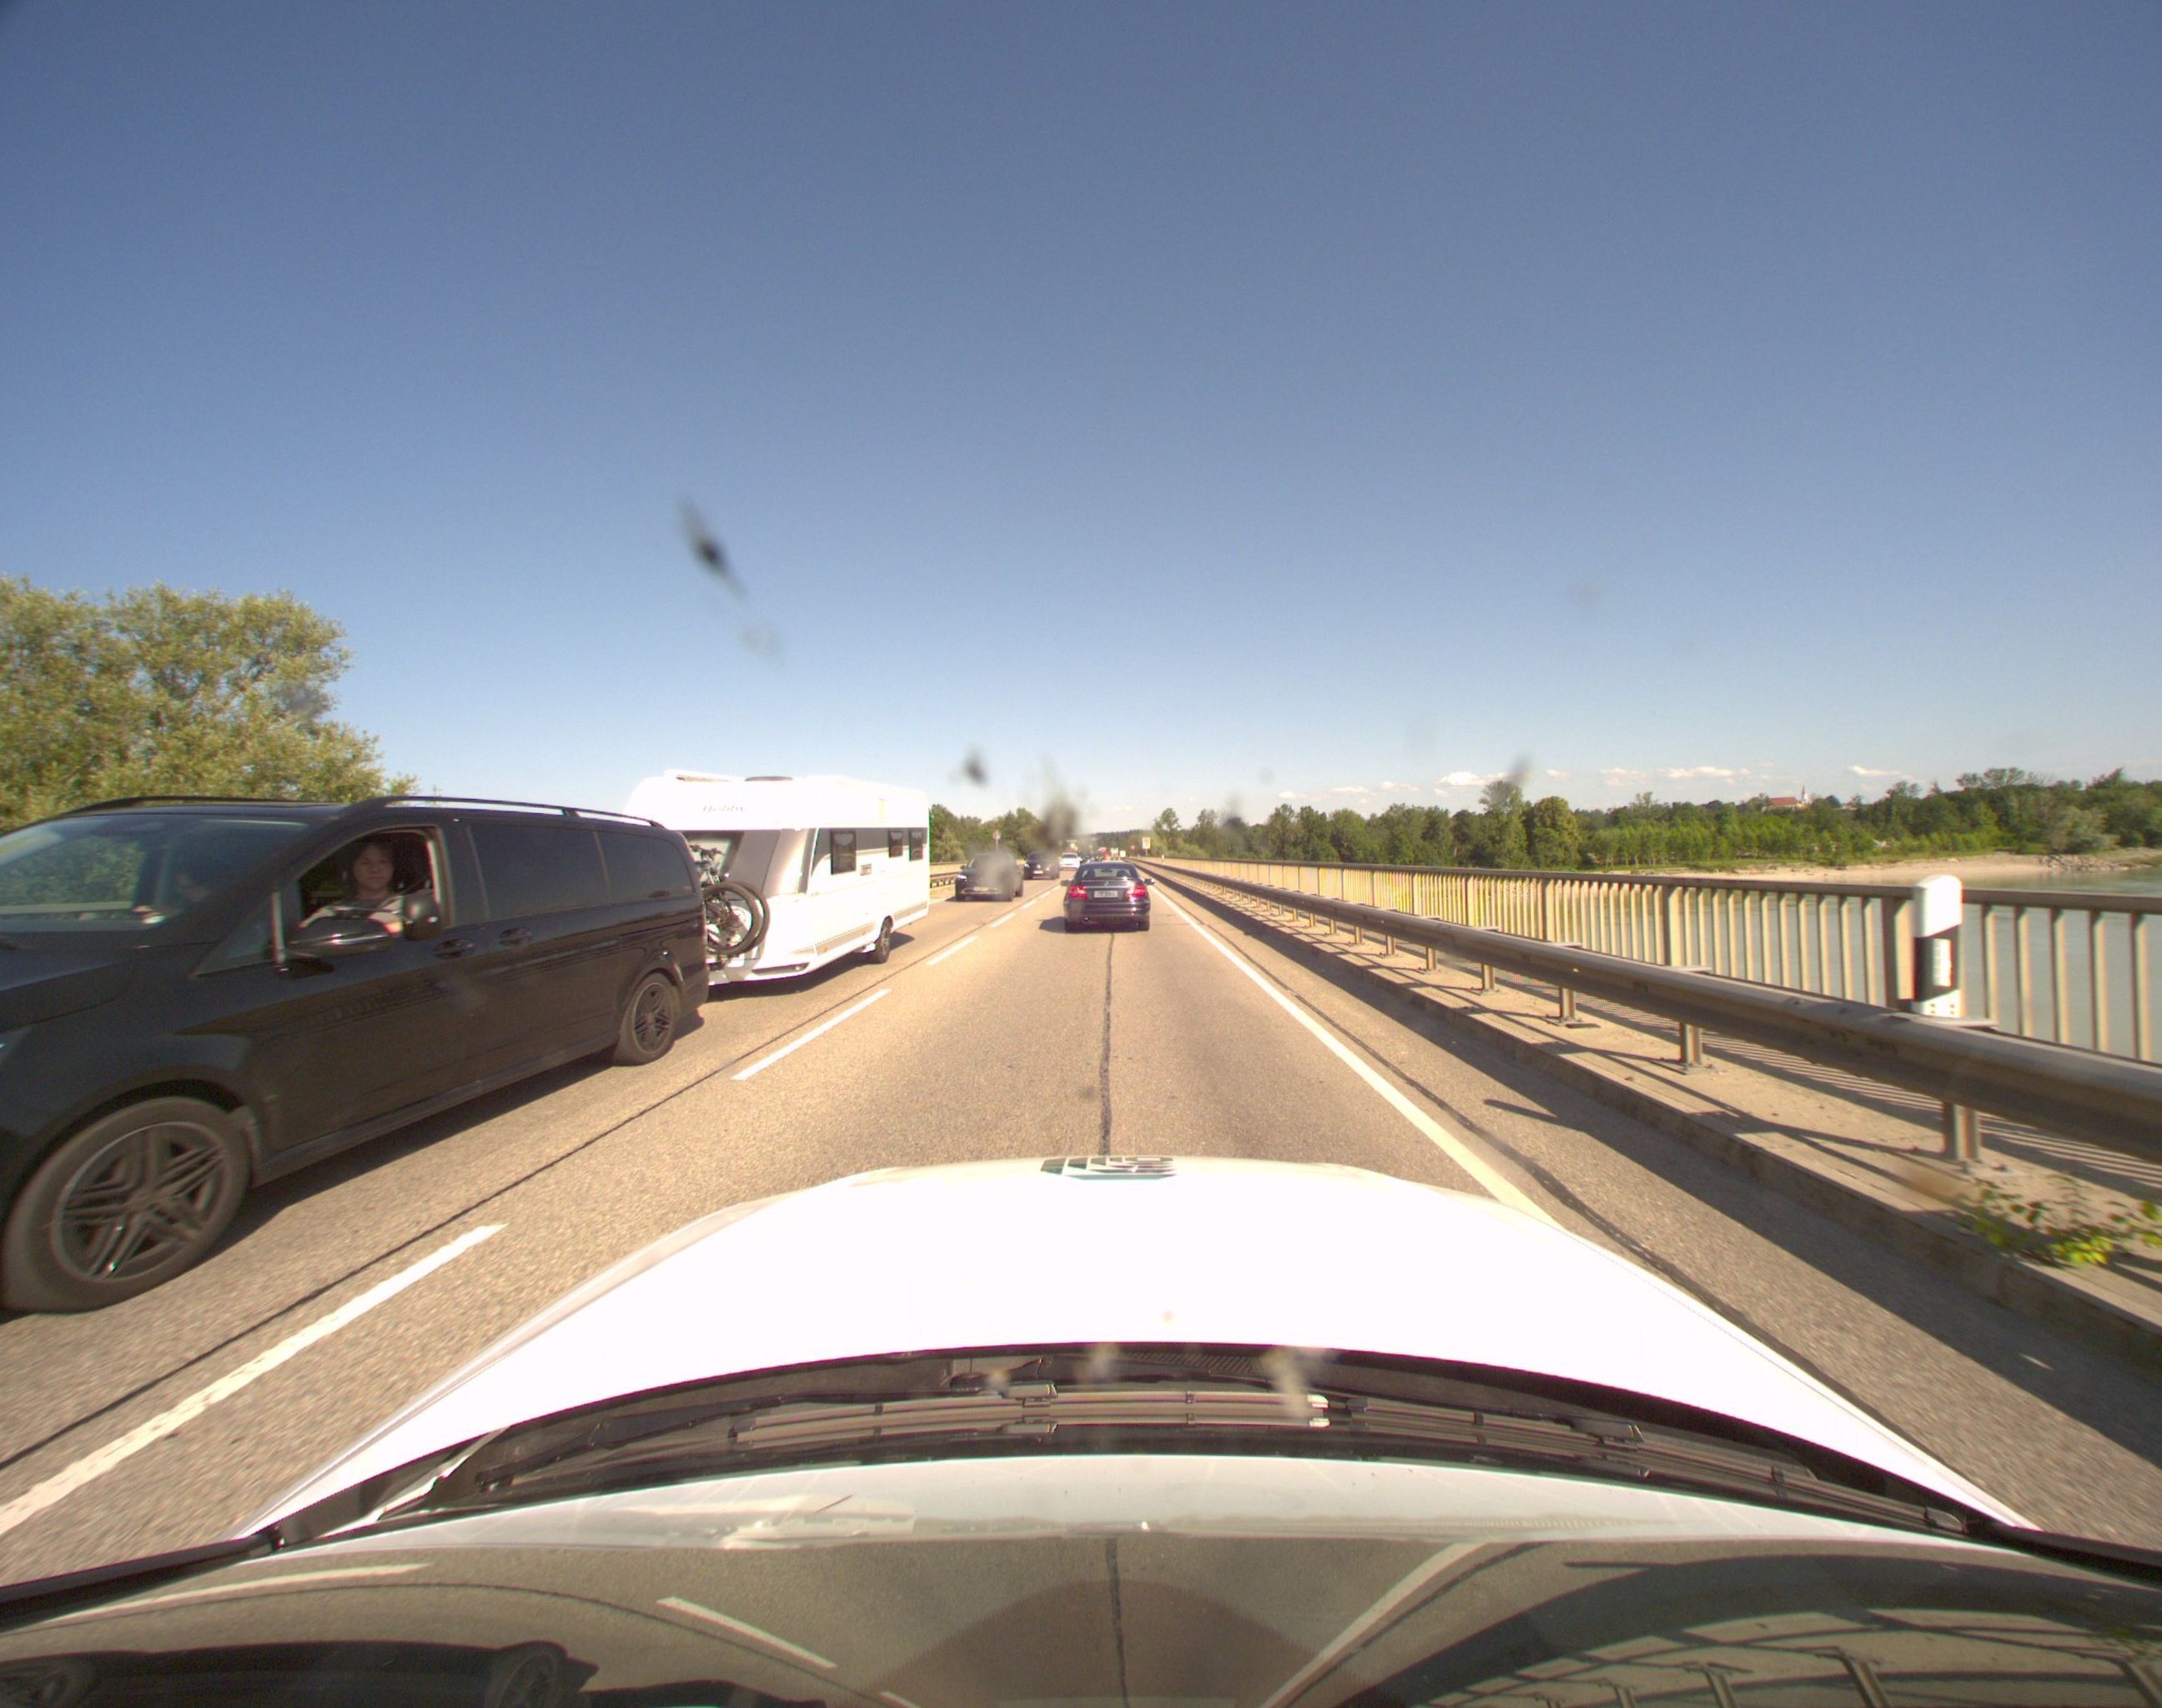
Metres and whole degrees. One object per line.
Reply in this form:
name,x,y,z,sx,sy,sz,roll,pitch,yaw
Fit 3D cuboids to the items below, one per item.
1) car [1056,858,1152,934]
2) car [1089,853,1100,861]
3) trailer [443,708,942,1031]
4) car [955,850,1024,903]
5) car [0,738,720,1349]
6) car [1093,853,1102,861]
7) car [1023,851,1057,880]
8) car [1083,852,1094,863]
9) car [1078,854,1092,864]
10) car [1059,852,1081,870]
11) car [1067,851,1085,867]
car,0.525,0.801,17.279,1.786,1.376,4.002,-1,0,2
car,2.673,0.626,165.537,2.048,1.652,4.719,1,0,-1
trailer,-4.059,0.136,11.078,2.545,2.737,8.068,-1,0,3
car,-3.103,0.717,28.301,1.796,1.661,4.434,-1,0,1
car,-4.201,0.603,4.535,1.976,1.854,5.010,-1,0,2
car,3.637,0.674,180.896,1.801,1.577,4.199,0,0,-1
car,-2.459,0.661,49.923,1.943,1.694,4.475,0,0,-1
car,1.244,0.566,138.575,1.847,1.722,4.567,0,0,1
car,0.537,0.664,112.767,1.760,1.447,4.454,0,0,-1
car,-1.062,0.681,78.199,1.977,1.651,4.596,1,0,-1
car,-0.576,0.579,95.129,2.031,1.873,5.068,0,0,-1
